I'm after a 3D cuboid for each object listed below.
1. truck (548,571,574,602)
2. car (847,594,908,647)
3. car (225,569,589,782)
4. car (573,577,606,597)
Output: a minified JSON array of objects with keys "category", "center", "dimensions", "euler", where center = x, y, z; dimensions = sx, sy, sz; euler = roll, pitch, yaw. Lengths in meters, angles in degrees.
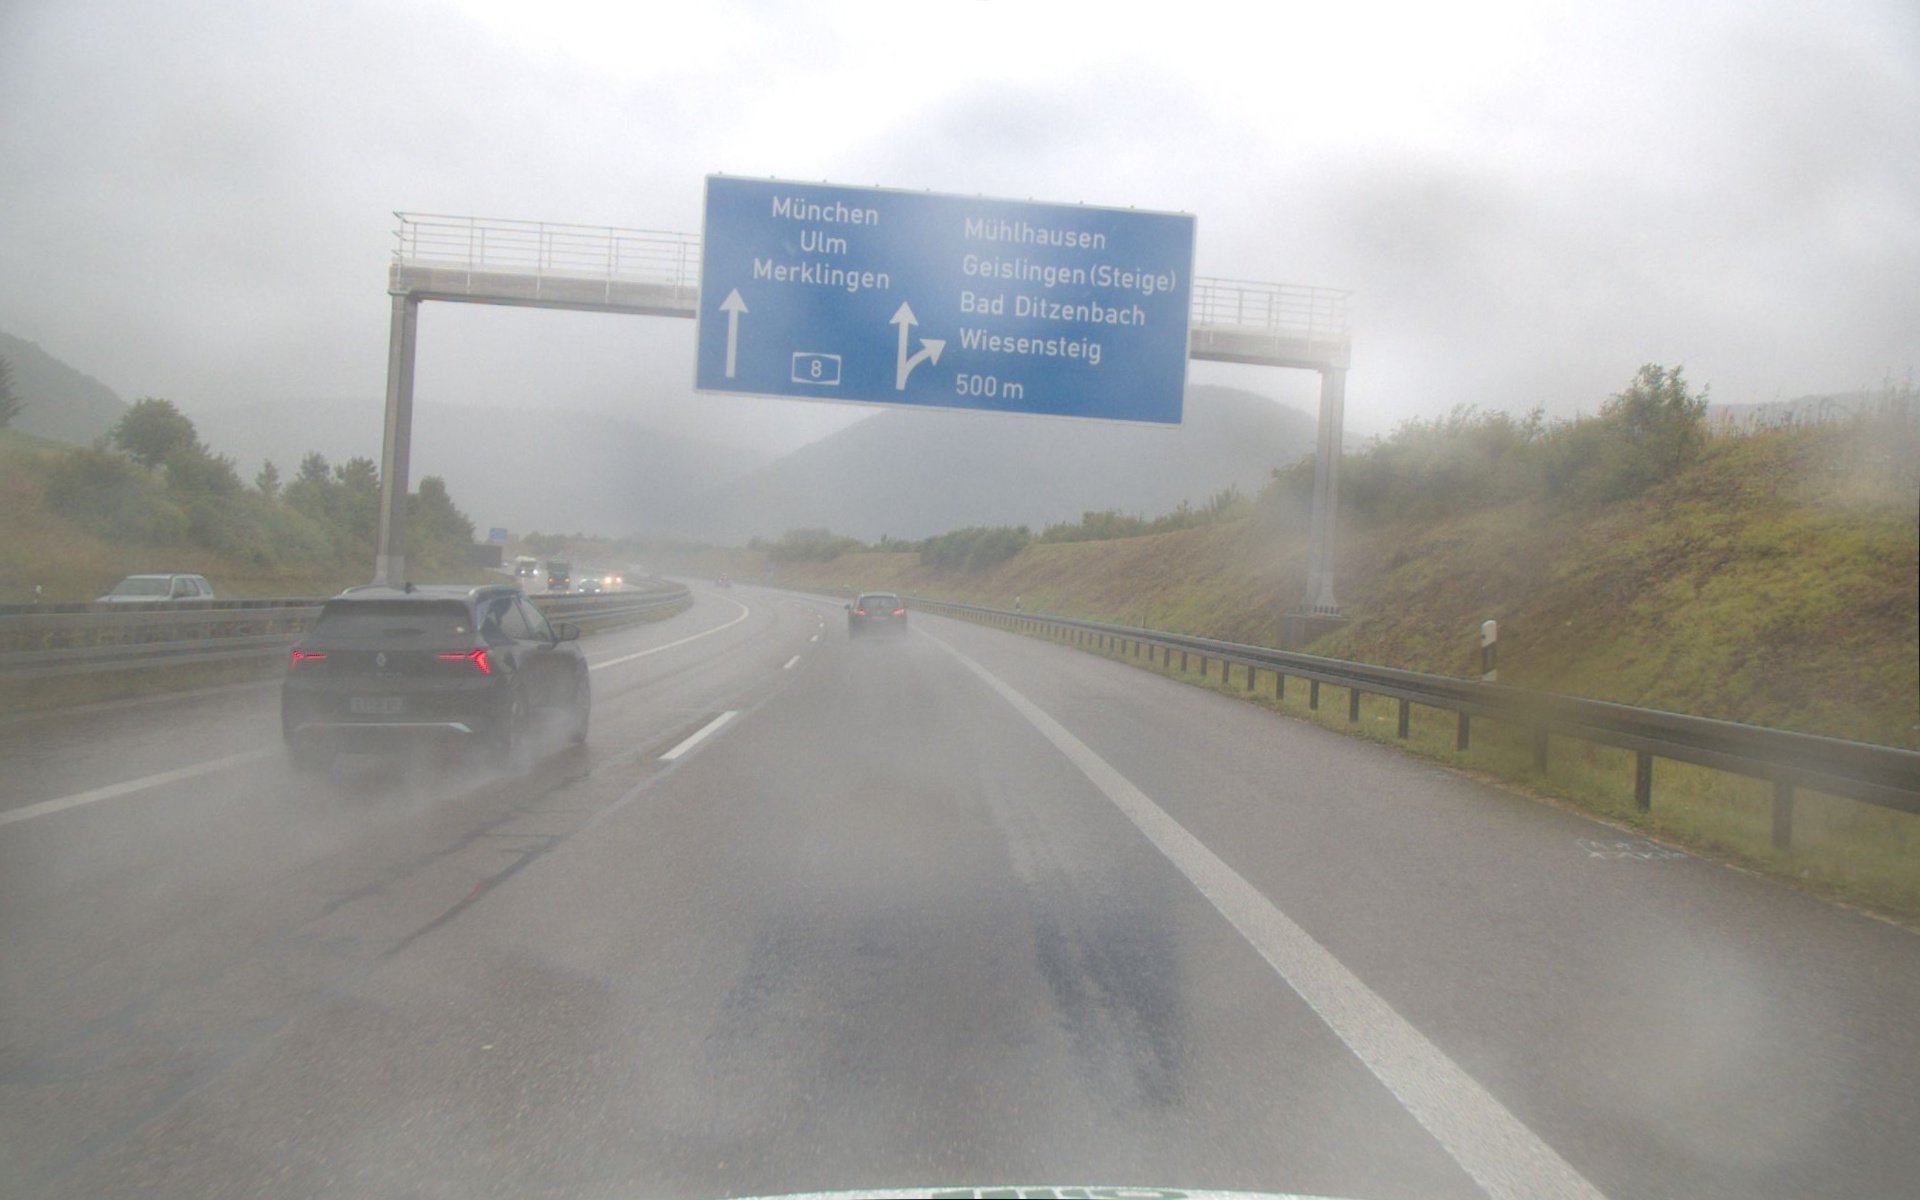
[{"category":"truck","center":[-47.269,-1.604,196.155],"dimensions":[2.667,3.604,5.297],"euler":[1,1,-11]},{"category":"car","center":[-2.502,0.610,50.875],"dimensions":[1.645,1.498,3.814],"euler":[2,0,-1]},{"category":"car","center":[-4.649,0.570,14.757],"dimensions":[2.363,1.542,4.772],"euler":[2,0,-10]},{"category":"car","center":[-30.939,-1.087,138.091],"dimensions":[1.954,1.545,3.998],"euler":[3,0,-3]}]
